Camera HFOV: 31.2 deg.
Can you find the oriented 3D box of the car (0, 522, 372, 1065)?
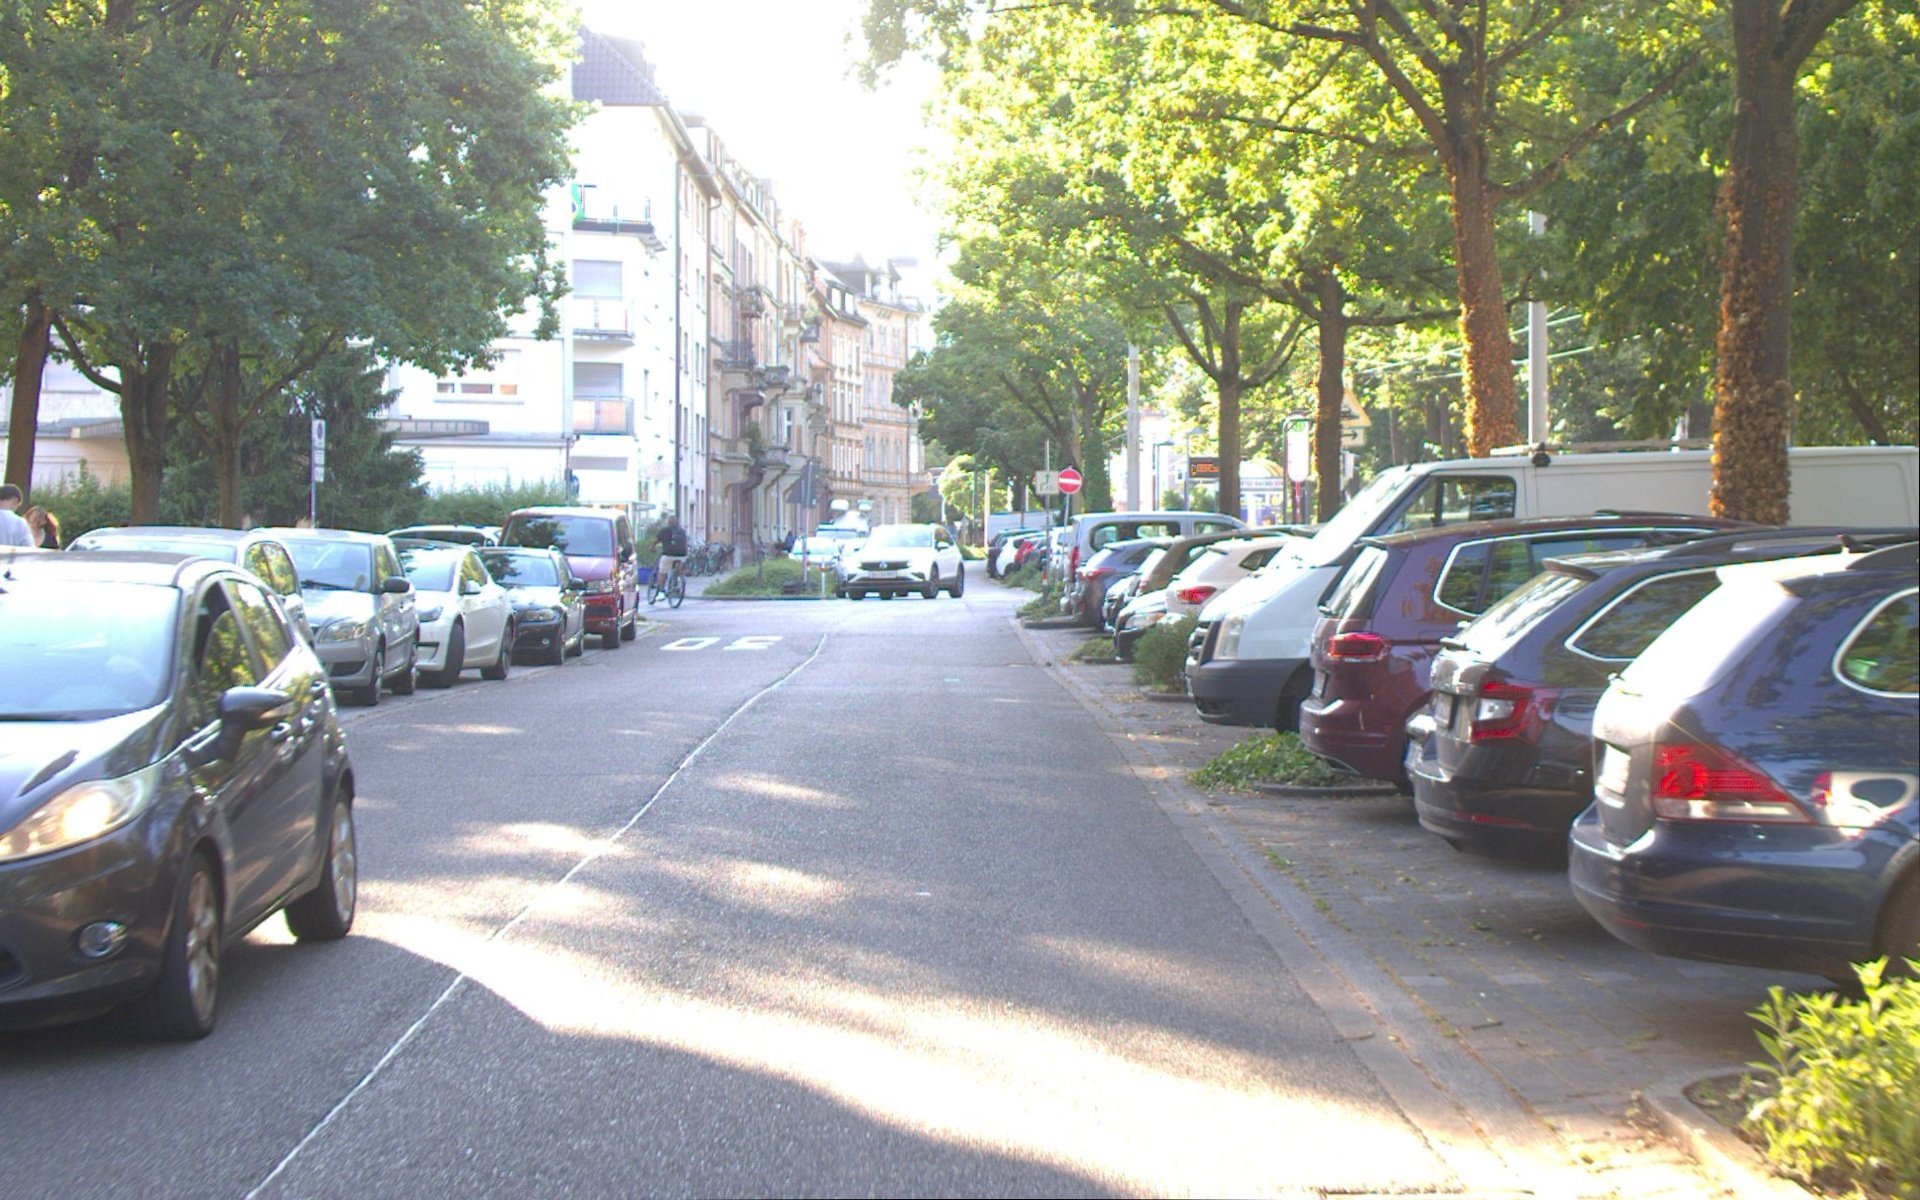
[{"bbox_3d":[-3.078,0.492,11.266,1.668,1.459,4.000,-1,1,-1],"label":"car"}]

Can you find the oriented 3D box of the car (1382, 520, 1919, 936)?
[{"bbox_3d":[3.862,0.415,13.307,4.220,1.448,1.865,-2,1,1],"label":"car"}]

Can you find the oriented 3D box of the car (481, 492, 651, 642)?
[{"bbox_3d":[-5.596,-0.499,49.276,1.957,2.011,4.268,1,1,-1],"label":"car"}]

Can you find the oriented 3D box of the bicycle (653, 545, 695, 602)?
[{"bbox_3d":[-5.654,-0.519,67.859,0.641,1.096,1.944,1,-1,-10],"label":"bicycle"}]

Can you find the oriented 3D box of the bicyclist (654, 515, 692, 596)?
[{"bbox_3d":[-5.667,-0.877,67.923,0.627,1.568,0.802,1,-1,-11],"label":"bicyclist"}]

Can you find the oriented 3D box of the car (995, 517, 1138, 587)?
[{"bbox_3d":[3.231,-1.440,103.849,3.989,2.007,1.999,1,-1,11],"label":"car"}]

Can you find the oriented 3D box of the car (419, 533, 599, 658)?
[{"bbox_3d":[-5.685,-0.095,43.747,1.756,1.461,4.268,1,1,-1],"label":"car"}]

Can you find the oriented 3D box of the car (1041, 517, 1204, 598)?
[{"bbox_3d":[4.303,-1.108,90.554,3.989,2.007,1.999,1,-1,11],"label":"car"}]

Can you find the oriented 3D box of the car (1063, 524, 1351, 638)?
[{"bbox_3d":[3.598,-0.269,50.551,3.986,1.558,1.859,1,-1,-3],"label":"car"}]

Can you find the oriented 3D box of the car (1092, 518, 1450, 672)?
[{"bbox_3d":[3.659,-0.049,40.913,3.986,1.694,1.859,1,-1,-3],"label":"car"}]

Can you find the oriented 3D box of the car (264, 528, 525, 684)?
[{"bbox_3d":[-5.690,0.014,35.089,1.756,1.461,4.267,1,1,3],"label":"car"}]

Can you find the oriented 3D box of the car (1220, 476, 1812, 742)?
[{"bbox_3d":[4.052,0.048,25.506,3.986,1.811,1.859,1,1,-3],"label":"car"}]

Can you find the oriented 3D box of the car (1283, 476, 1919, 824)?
[{"bbox_3d":[3.817,0.224,18.381,3.987,1.685,1.859,-2,1,1],"label":"car"}]

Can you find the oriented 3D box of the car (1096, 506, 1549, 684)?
[{"bbox_3d":[3.694,-0.042,35.553,4.389,1.694,1.859,1,-1,-3],"label":"car"}]

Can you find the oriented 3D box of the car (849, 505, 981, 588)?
[{"bbox_3d":[-0.935,-1.149,73.652,1.779,1.668,4.484,1,1,13],"label":"car"}]

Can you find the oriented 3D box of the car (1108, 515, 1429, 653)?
[{"bbox_3d":[4.052,-0.199,45.578,3.986,1.694,1.859,1,-1,-3],"label":"car"}]

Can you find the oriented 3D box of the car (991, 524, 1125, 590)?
[{"bbox_3d":[3.163,-1.387,110.710,3.989,2.007,1.999,1,-1,11],"label":"car"}]

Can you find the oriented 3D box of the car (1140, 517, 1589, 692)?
[{"bbox_3d":[3.819,0.054,32.937,3.986,1.543,1.859,1,-1,-3],"label":"car"}]

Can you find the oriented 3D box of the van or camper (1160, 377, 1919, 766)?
[{"bbox_3d":[3.944,-0.166,22.937,4.981,2.369,2.185,1,-1,-2],"label":"van or camper"}]

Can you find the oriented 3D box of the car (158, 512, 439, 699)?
[{"bbox_3d":[-5.772,0.003,30.453,1.756,1.510,4.162,1,1,-1],"label":"car"}]

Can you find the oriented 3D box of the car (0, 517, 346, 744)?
[{"bbox_3d":[-5.650,0.157,24.556,1.704,1.424,3.877,2,1,1],"label":"car"}]

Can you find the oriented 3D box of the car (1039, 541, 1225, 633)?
[{"bbox_3d":[3.980,-0.294,79.163,3.989,2.007,1.999,1,-1,11],"label":"car"}]

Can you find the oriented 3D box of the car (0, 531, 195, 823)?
[{"bbox_3d":[-5.579,0.335,19.121,1.670,1.425,4.241,1,1,0],"label":"car"}]

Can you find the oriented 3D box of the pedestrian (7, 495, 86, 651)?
[{"bbox_3d":[-9.228,-0.280,34.754,0.597,1.545,0.708,0,3,-1],"label":"pedestrian"}]

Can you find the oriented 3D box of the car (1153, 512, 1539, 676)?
[{"bbox_3d":[4.253,-0.057,38.263,3.986,1.694,1.859,1,-1,-3],"label":"car"}]

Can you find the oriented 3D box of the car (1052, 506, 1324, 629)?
[{"bbox_3d":[3.497,-0.490,53.221,3.986,1.788,1.859,1,-1,-3],"label":"car"}]

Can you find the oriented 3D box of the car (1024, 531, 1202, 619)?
[{"bbox_3d":[3.699,-0.589,82.704,3.989,2.007,1.999,1,-1,11],"label":"car"}]

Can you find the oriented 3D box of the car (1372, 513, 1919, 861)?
[{"bbox_3d":[4.018,0.341,15.921,3.987,1.456,1.859,-2,1,1],"label":"car"}]

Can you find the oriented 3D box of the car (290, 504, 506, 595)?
[{"bbox_3d":[-11.357,-1.014,69.668,3.987,1.700,2.000,1,-1,1],"label":"car"}]

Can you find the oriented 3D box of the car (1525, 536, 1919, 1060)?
[{"bbox_3d":[3.933,0.510,10.413,4.220,1.448,1.649,-1,1,4],"label":"car"}]

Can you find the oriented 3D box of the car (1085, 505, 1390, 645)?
[{"bbox_3d":[3.825,-0.332,47.876,3.986,1.819,1.859,1,-1,-3],"label":"car"}]

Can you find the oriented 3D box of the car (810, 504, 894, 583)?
[{"bbox_3d":[-2.662,-1.379,85.258,1.993,1.831,4.000,1,0,-1],"label":"car"}]

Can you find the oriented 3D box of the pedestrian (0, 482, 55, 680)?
[{"bbox_3d":[-8.137,-0.173,29.405,0.597,1.662,0.708,0,3,-1],"label":"pedestrian"}]
